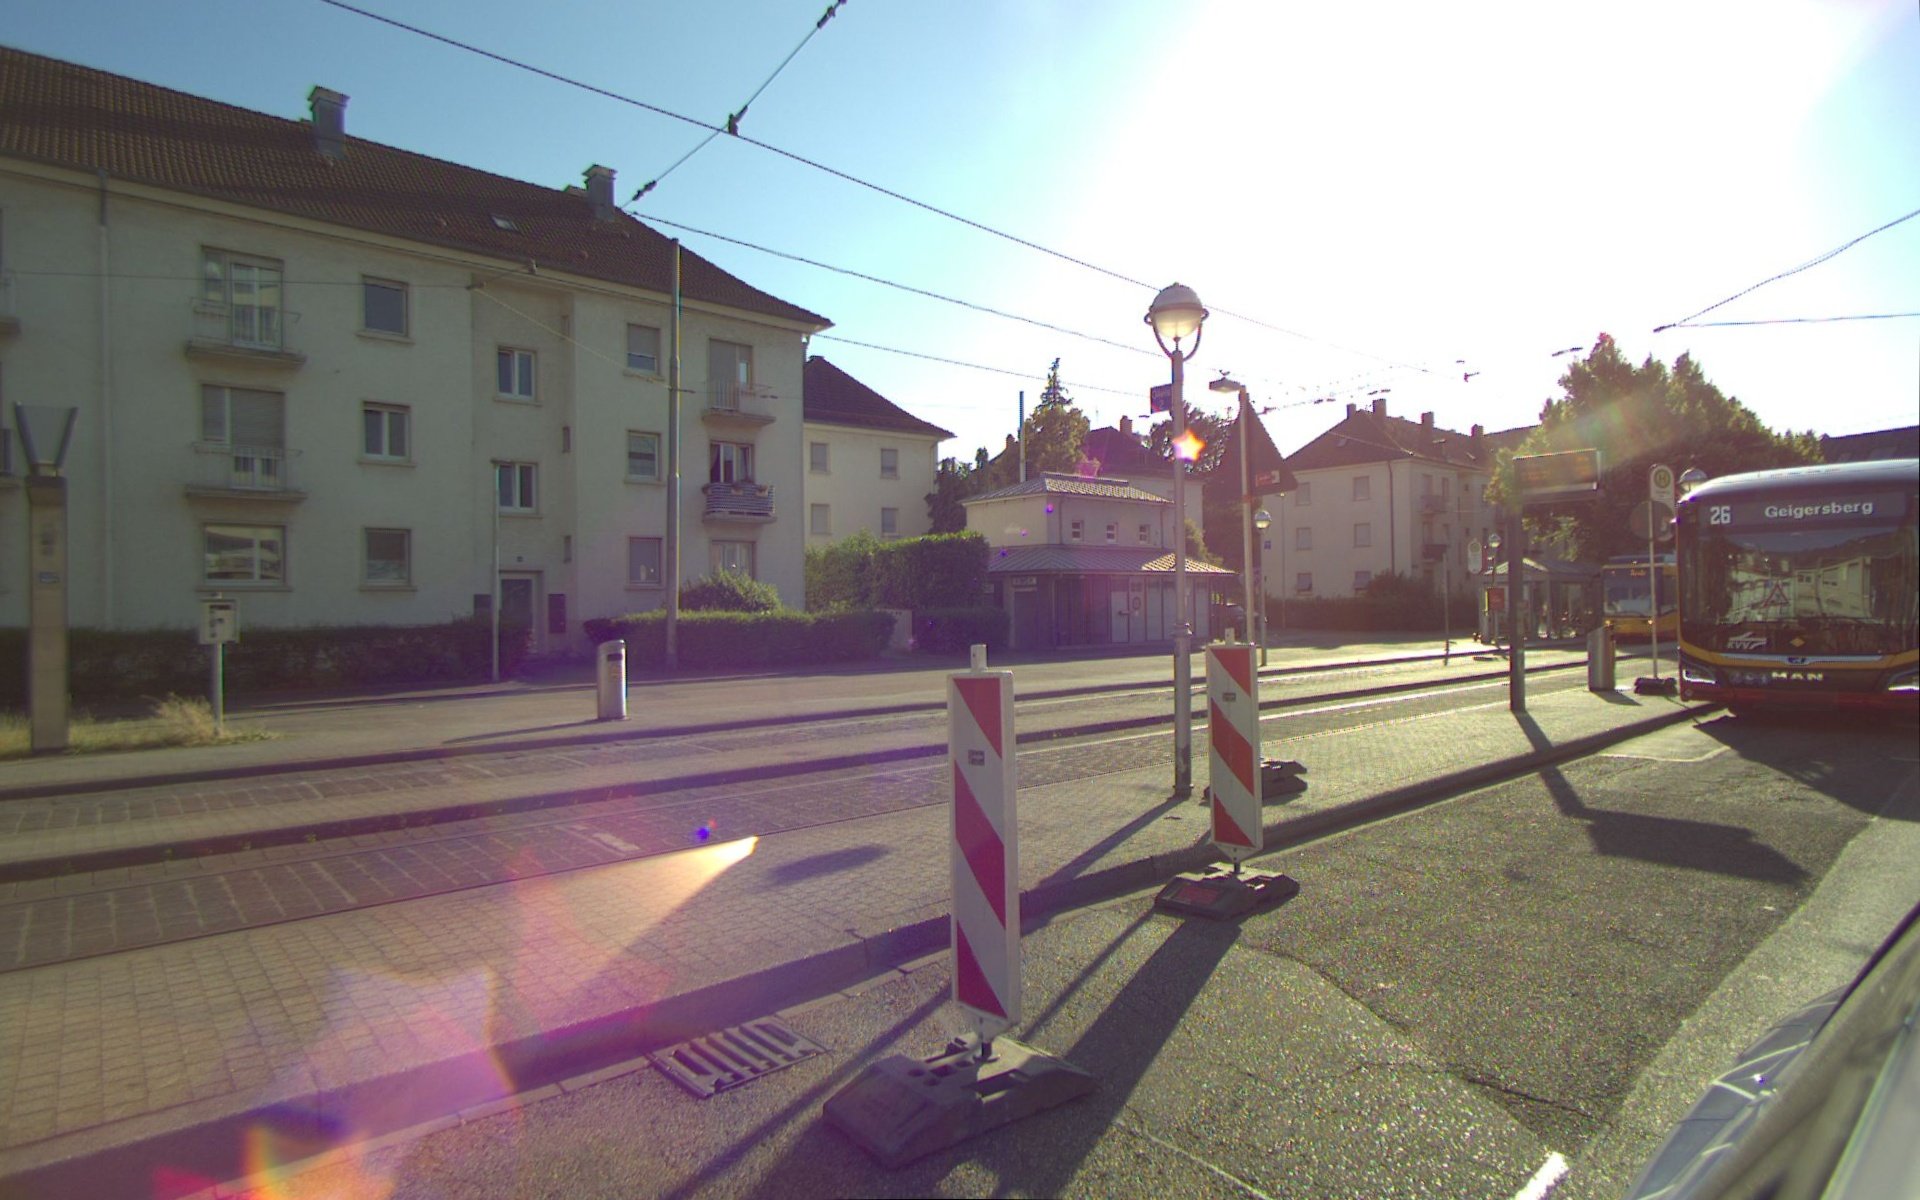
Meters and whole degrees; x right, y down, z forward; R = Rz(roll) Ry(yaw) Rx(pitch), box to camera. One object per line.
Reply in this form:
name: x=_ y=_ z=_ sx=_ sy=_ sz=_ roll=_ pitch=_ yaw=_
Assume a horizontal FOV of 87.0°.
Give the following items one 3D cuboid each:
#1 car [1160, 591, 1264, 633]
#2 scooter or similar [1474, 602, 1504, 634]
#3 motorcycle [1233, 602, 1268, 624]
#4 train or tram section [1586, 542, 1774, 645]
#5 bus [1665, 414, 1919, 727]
car: x=11.561 y=0.526 z=46.684 sx=1.963 sy=1.791 sz=4.451 roll=-1 pitch=1 yaw=-37
scooter or similar: x=20.605 y=0.690 z=39.430 sx=1.185 sy=1.223 sz=0.468 roll=-1 pitch=0 yaw=-30
motorcycle: x=15.792 y=0.721 z=55.010 sx=0.549 sy=1.177 sz=1.823 roll=0 pitch=0 yaw=-43
train or tram section: x=29.980 y=-0.458 z=41.582 sx=15.698 sy=3.578 sz=2.961 roll=-2 pitch=2 yaw=-42
bus: x=14.323 y=-0.344 z=15.848 sx=11.810 sy=3.460 sz=2.692 roll=0 pitch=-1 yaw=-42
